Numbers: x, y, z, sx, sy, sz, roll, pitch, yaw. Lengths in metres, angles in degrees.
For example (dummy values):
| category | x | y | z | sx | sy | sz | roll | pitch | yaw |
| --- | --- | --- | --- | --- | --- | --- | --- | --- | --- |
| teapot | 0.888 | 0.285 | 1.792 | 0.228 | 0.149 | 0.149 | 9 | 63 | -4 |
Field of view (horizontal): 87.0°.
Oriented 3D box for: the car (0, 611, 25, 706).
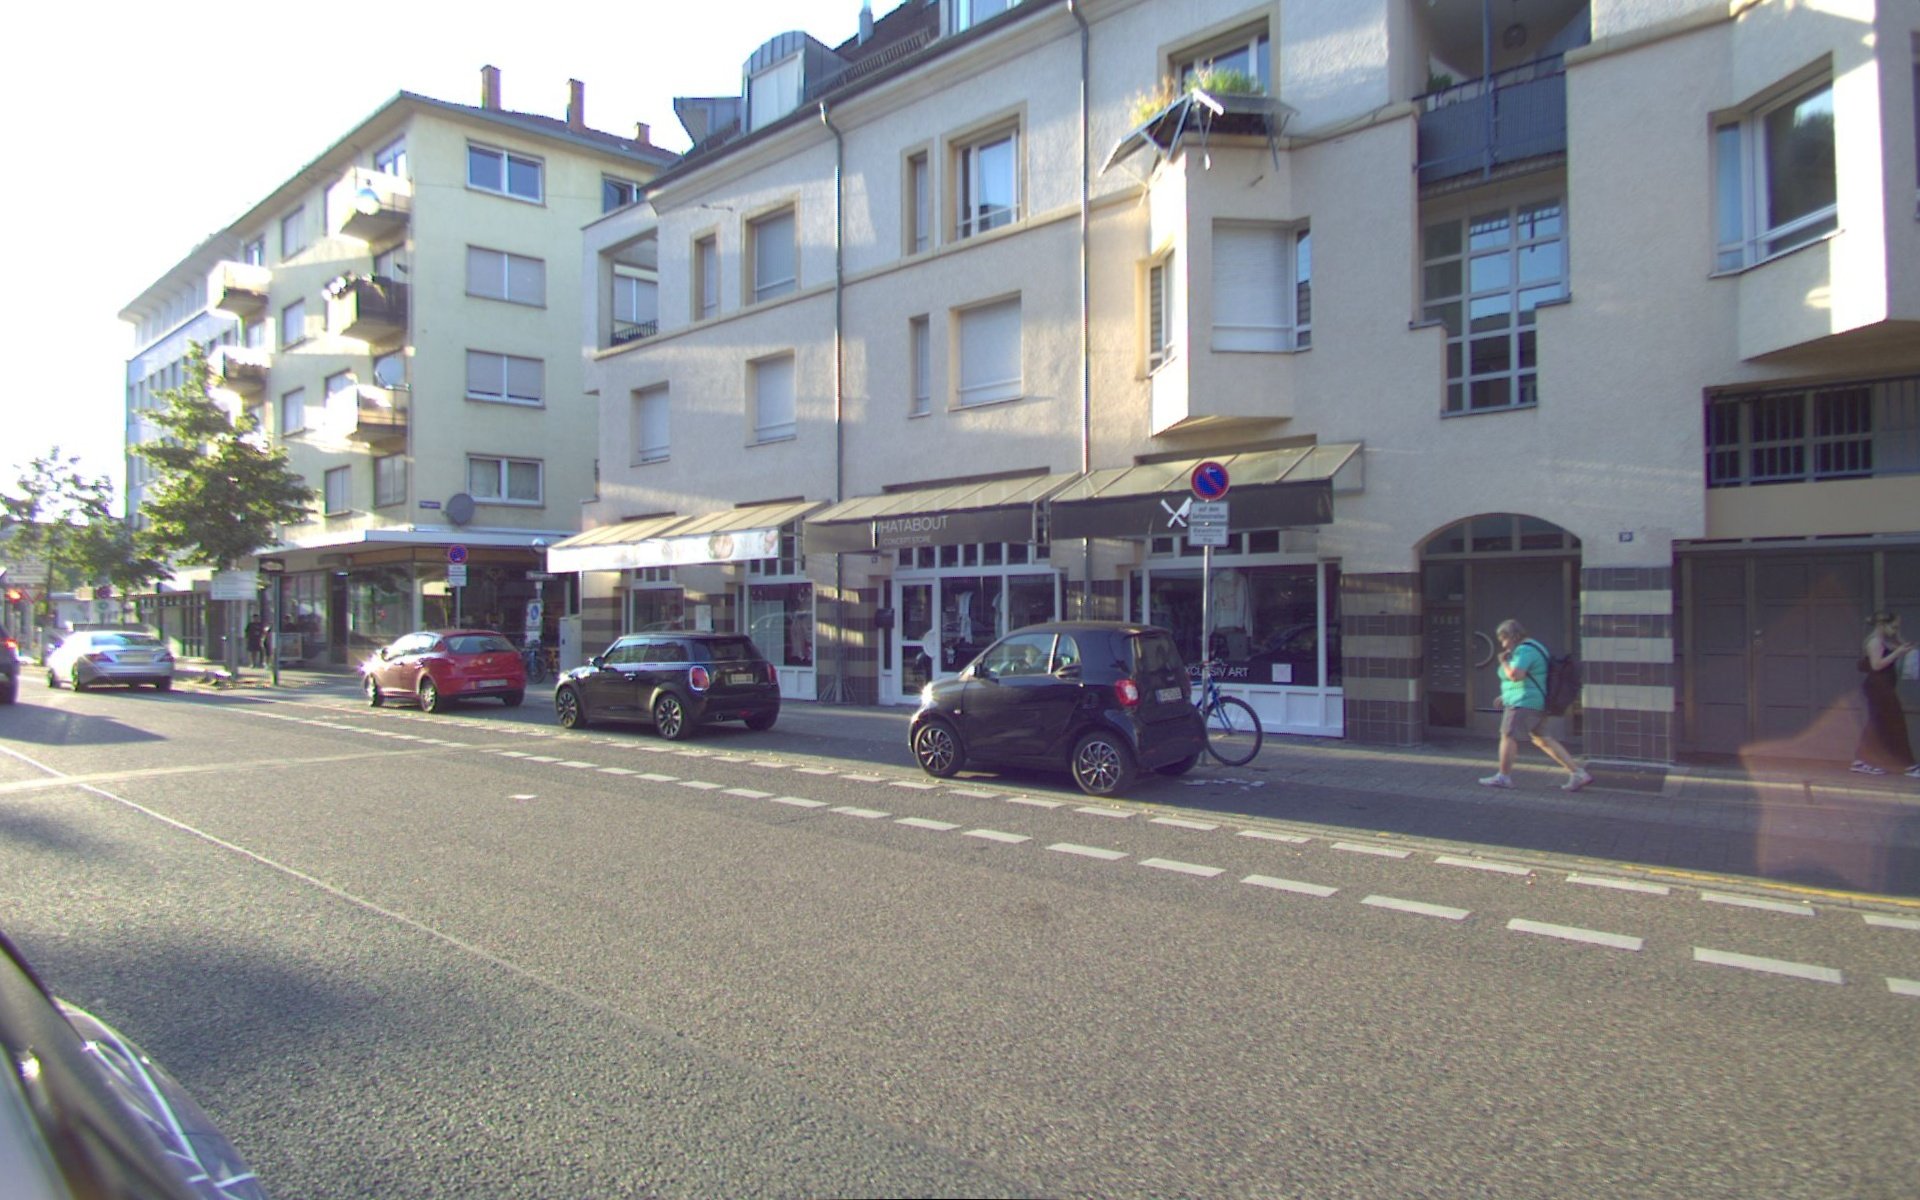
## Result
| category | x | y | z | sx | sy | sz | roll | pitch | yaw |
| --- | --- | --- | --- | --- | --- | --- | --- | --- | --- |
| car | -19.000 | 1.031 | 18.685 | 4.734 | 1.657 | 1.921 | -1 | -2 | 40 |

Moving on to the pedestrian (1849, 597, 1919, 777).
| category | x | y | z | sx | sy | sz | roll | pitch | yaw |
| --- | --- | --- | --- | --- | --- | --- | --- | --- | --- |
| pedestrian | 8.917 | 0.788 | 9.487 | 0.855 | 1.628 | 0.709 | -1 | 0 | 41 |

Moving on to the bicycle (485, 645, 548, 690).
| category | x | y | z | sx | sy | sz | roll | pitch | yaw |
| --- | --- | --- | --- | --- | --- | --- | --- | --- | --- |
| bicycle | -10.789 | 1.624 | 24.603 | 2.012 | 0.999 | 0.485 | -1 | 0 | 37 |

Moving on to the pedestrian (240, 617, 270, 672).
| category | x | y | z | sx | sy | sz | roll | pitch | yaw |
| --- | --- | --- | --- | --- | --- | --- | --- | --- | --- |
| pedestrian | -24.342 | 1.548 | 34.941 | 0.758 | 1.862 | 0.744 | 0 | -3 | -41 |

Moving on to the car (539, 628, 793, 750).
| category | x | y | z | sx | sy | sz | roll | pitch | yaw |
| --- | --- | --- | --- | --- | --- | --- | --- | --- | --- |
| car | -4.290 | 1.166 | 14.550 | 3.721 | 1.464 | 1.694 | -1 | 0 | 39 |

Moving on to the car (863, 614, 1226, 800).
| category | x | y | z | sx | sy | sz | roll | pitch | yaw |
| --- | --- | --- | --- | --- | --- | --- | --- | --- | --- |
| car | 0.808 | 0.943 | 10.194 | 3.183 | 1.547 | 1.776 | -2 | -1 | 36 |

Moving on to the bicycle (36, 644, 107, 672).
| category | x | y | z | sx | sy | sz | roll | pitch | yaw |
| --- | --- | --- | --- | --- | --- | --- | --- | --- | --- |
| bicycle | -34.490 | 2.239 | 39.314 | 0.490 | 0.999 | 1.992 | -1 | 0 | 35 |

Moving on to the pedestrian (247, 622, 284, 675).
| category | x | y | z | sx | sy | sz | roll | pitch | yaw |
| --- | --- | --- | --- | --- | --- | --- | --- | --- | --- |
| pedestrian | -22.663 | 1.581 | 33.022 | 0.758 | 1.689 | 0.744 | -1 | -1 | -9 |

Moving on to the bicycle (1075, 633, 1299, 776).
| category | x | y | z | sx | sy | sz | roll | pitch | yaw |
| --- | --- | --- | --- | --- | --- | --- | --- | --- | --- |
| bicycle | 2.428 | 1.070 | 11.060 | 2.356 | 1.385 | 0.604 | -1 | 0 | 39 |

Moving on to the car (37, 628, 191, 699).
| category | x | y | z | sx | sy | sz | roll | pitch | yaw |
| --- | --- | --- | --- | --- | --- | --- | --- | --- | --- |
| car | -20.466 | 1.494 | 24.424 | 4.505 | 1.523 | 1.974 | -1 | -4 | 39 |

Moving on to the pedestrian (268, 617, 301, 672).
| category | x | y | z | sx | sy | sz | roll | pitch | yaw |
| --- | --- | --- | --- | --- | --- | --- | --- | --- | --- |
| pedestrian | -23.048 | 1.515 | 34.513 | 0.813 | 1.833 | 0.733 | -3 | -3 | 41 |

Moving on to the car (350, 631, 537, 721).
| category | x | y | z | sx | sy | sz | roll | pitch | yaw |
| --- | --- | --- | --- | --- | --- | --- | --- | --- | --- |
| car | -9.655 | 1.332 | 18.812 | 3.879 | 1.413 | 1.645 | -1 | 0 | 39 |

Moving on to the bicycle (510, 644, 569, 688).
| category | x | y | z | sx | sy | sz | roll | pitch | yaw |
| --- | --- | --- | --- | --- | --- | --- | --- | --- | --- |
| bicycle | -10.404 | 1.615 | 24.992 | 2.014 | 0.999 | 0.485 | -1 | 0 | 41 |

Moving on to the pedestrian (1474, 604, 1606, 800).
| category | x | y | z | sx | sy | sz | roll | pitch | yaw |
| --- | --- | --- | --- | --- | --- | --- | --- | --- | --- |
| pedestrian | 5.266 | 0.873 | 9.183 | 0.950 | 1.654 | 0.710 | -1 | 0 | 36 |

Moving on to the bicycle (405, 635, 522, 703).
| category | x | y | z | sx | sy | sz | roll | pitch | yaw |
| --- | --- | --- | --- | --- | --- | --- | --- | --- | --- |
| bicycle | -10.705 | 1.440 | 21.752 | 3.122 | 1.310 | 0.949 | -1 | 0 | 37 |
